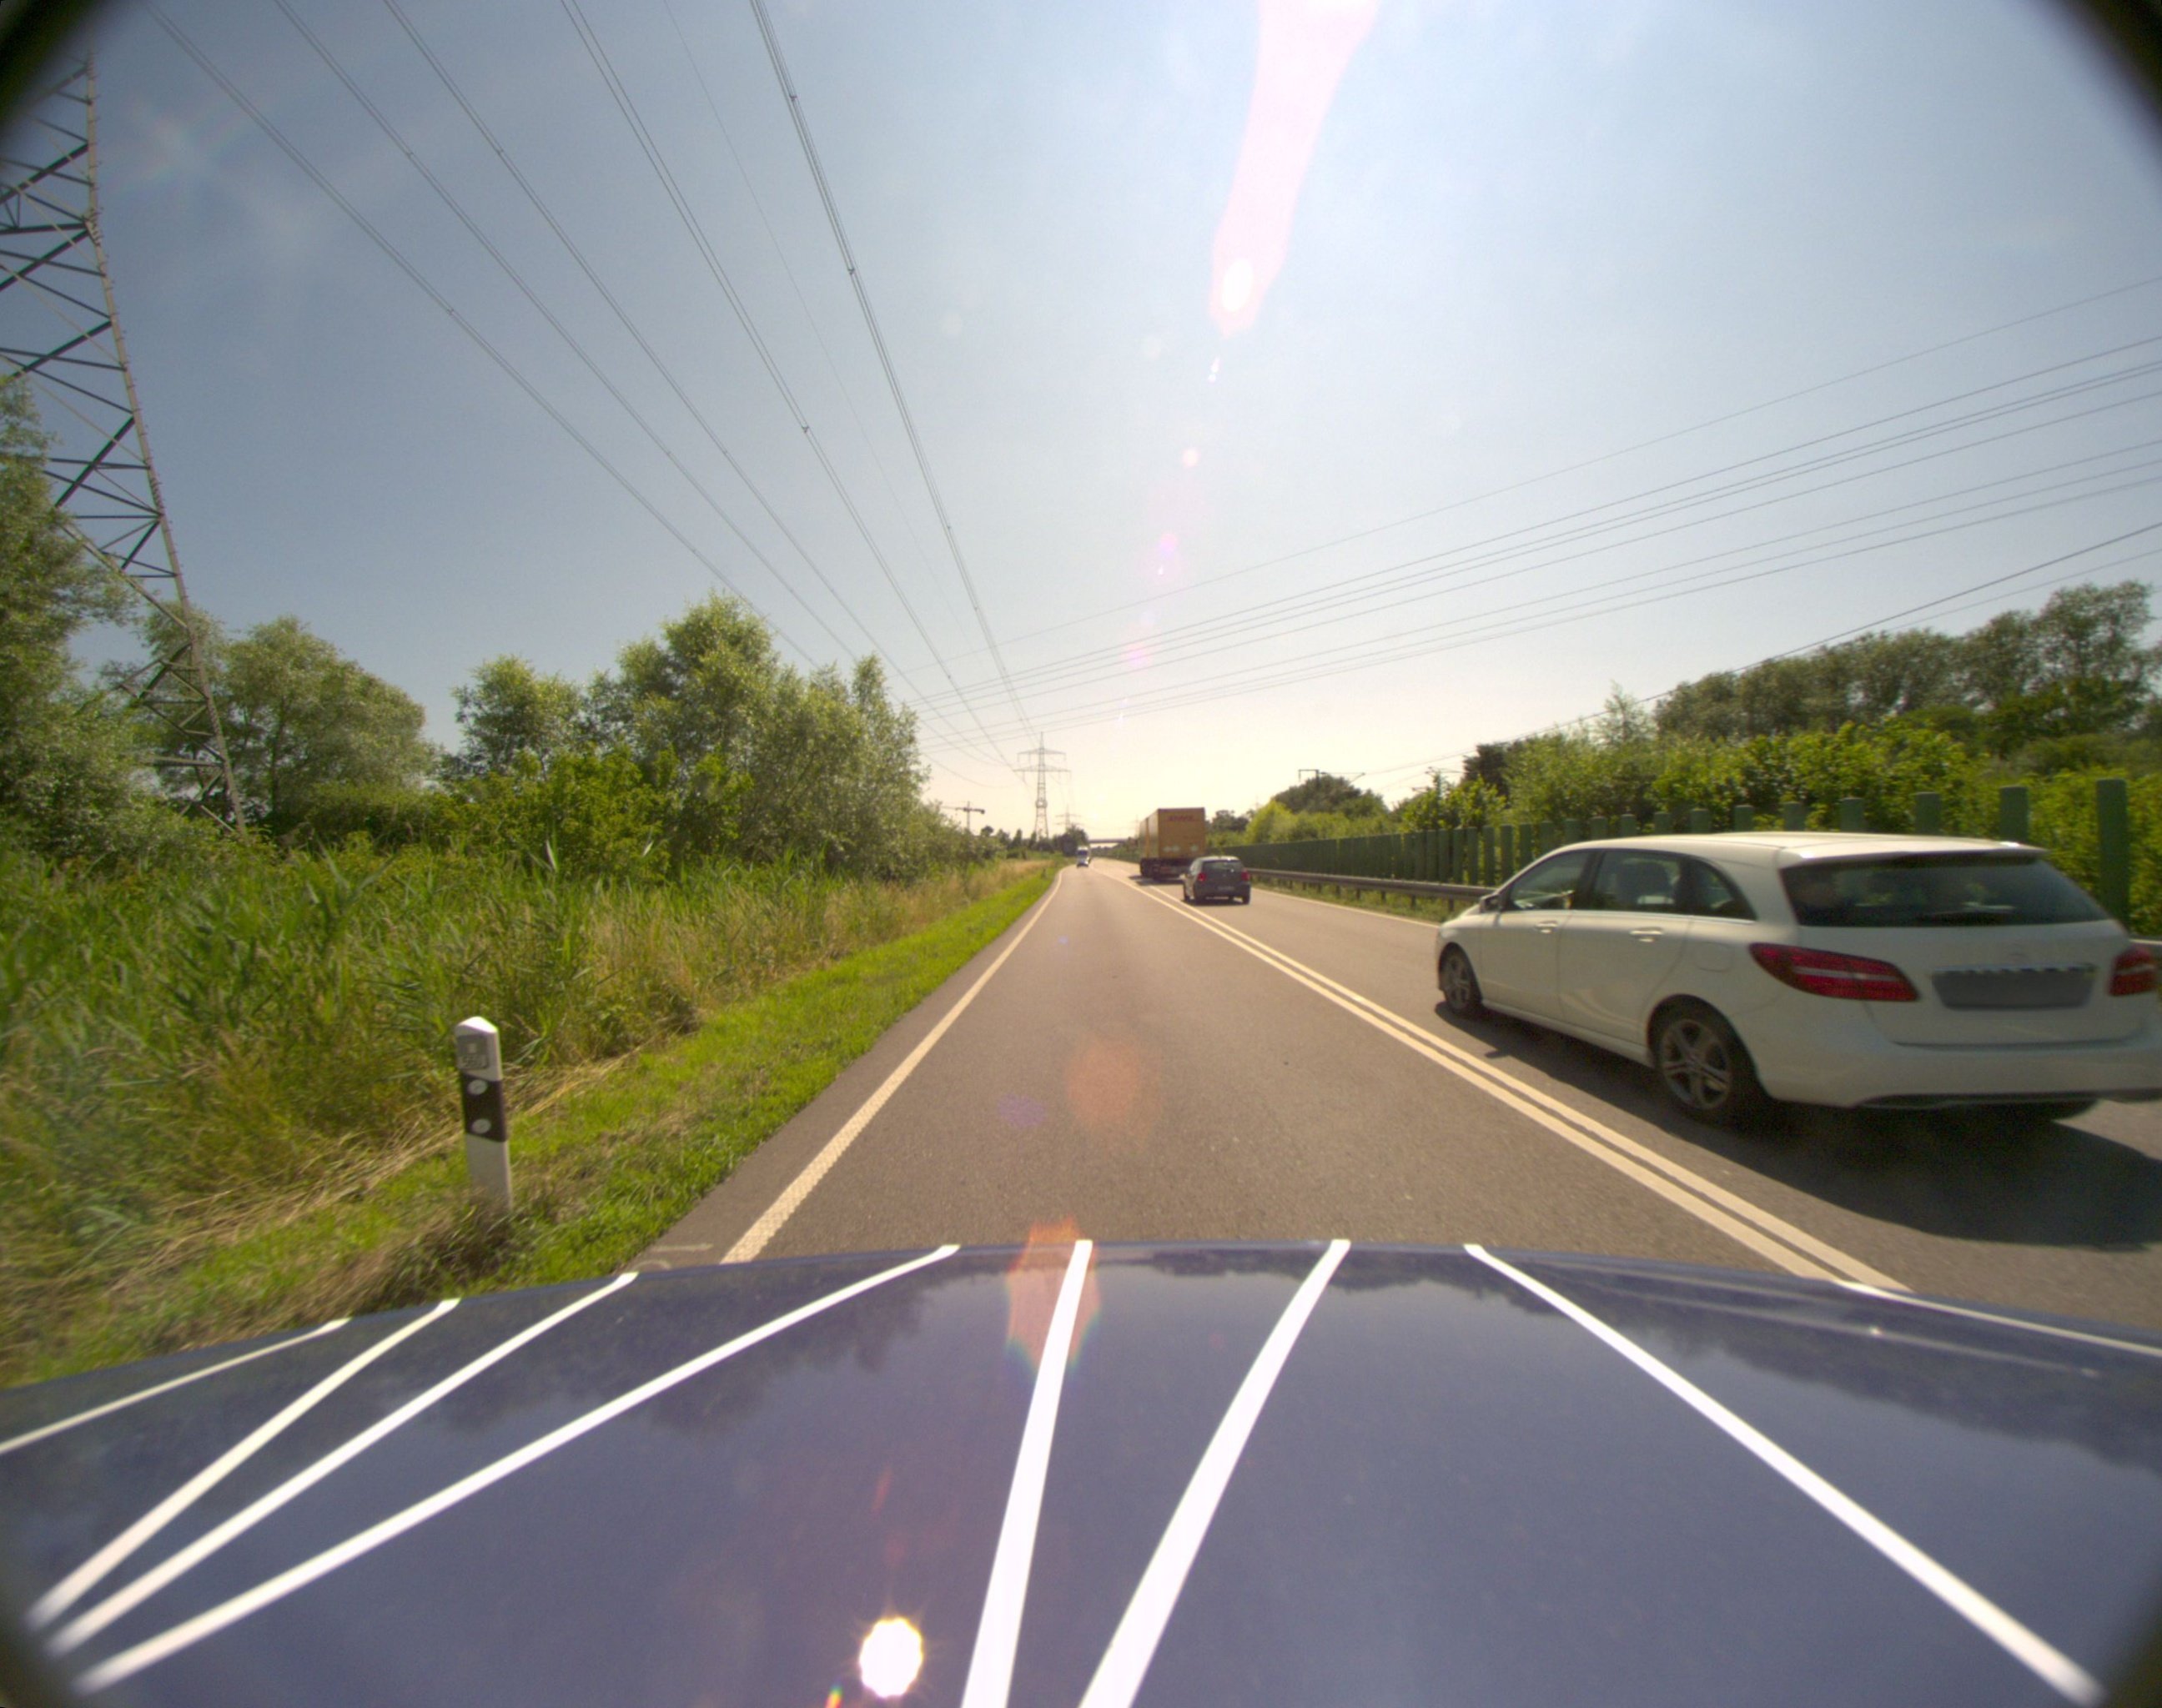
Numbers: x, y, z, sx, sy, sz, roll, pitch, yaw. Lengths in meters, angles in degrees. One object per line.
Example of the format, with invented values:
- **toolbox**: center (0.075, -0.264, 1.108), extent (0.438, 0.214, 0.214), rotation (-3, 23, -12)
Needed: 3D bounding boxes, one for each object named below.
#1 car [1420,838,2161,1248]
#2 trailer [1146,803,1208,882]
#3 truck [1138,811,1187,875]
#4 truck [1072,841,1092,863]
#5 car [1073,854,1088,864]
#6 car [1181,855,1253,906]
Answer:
- **car**: center (4.140, 0.746, 5.162), extent (1.829, 1.596, 4.323), rotation (-2, 0, 2)
- **trailer**: center (5.506, -0.614, 45.061), extent (2.554, 4.120, 9.228), rotation (-2, 0, 1)
- **truck**: center (5.727, -0.711, 54.979), extent (2.554, 4.104, 10.604), rotation (-2, 0, 1)
- **truck**: center (0.320, -0.449, 177.323), extent (4.219, 4.608, 21.303), rotation (-2, 0, 1)
- **car**: center (-0.060, 0.718, 108.992), extent (1.998, 1.346, 4.157), rotation (-2, 1, 0)
- **car**: center (4.252, 0.774, 24.210), extent (1.618, 1.433, 3.794), rotation (-1, 0, 0)
